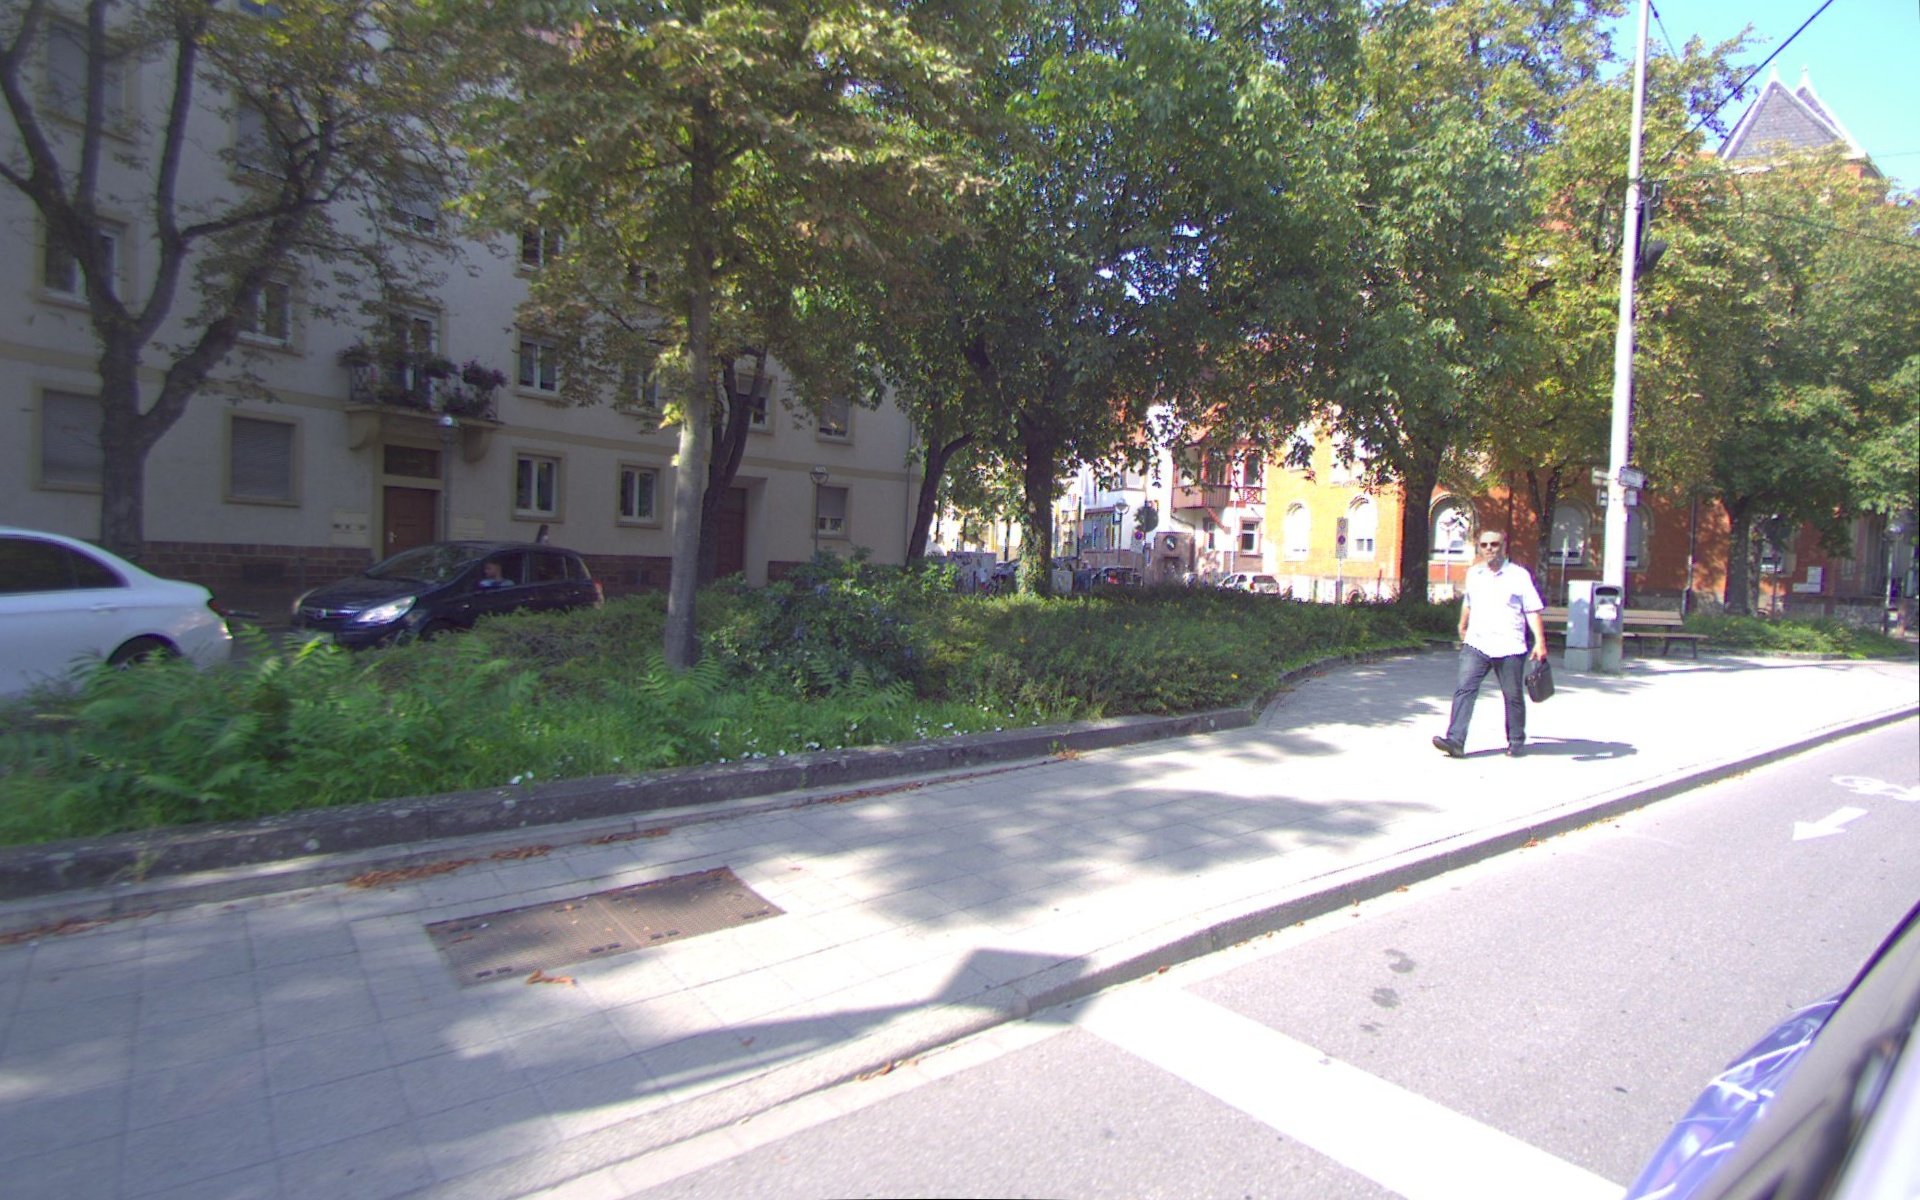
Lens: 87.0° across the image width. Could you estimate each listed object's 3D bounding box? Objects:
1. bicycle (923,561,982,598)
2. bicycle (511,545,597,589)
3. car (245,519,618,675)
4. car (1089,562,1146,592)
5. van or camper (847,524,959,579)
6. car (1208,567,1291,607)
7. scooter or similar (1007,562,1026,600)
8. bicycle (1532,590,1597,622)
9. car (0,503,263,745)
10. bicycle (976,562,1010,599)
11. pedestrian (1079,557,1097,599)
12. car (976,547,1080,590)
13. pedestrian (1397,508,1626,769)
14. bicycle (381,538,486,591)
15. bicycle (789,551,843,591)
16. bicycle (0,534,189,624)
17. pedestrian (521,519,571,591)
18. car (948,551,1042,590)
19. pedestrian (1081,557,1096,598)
[{"bbox_3d":[-0.244,-0.633,30.855,1.864,1.071,0.599,4,3,43],"label":"bicycle"},{"bbox_3d":[-9.749,-0.776,24.364,0.532,1.019,1.882,4,2,39],"label":"bicycle"},{"bbox_3d":[-6.081,-0.084,12.192,1.729,1.469,3.868,4,2,17],"label":"car"},{"bbox_3d":[8.931,-1.342,57.802,1.588,1.586,4.010,2,2,-16],"label":"car"},{"bbox_3d":[-3.668,-3.096,65.465,6.796,2.918,2.004,4,-1,-18],"label":"van or camper"},{"bbox_3d":[12.828,-0.625,45.115,1.588,1.586,4.010,2,2,-16],"label":"car"},{"bbox_3d":[1.779,-0.606,31.905,0.433,1.172,1.114,2,2,-3],"label":"scooter or similar"},{"bbox_3d":[20.598,0.204,34.519,1.806,1.072,0.608,1,-1,4],"label":"bicycle"},{"bbox_3d":[-7.015,0.118,6.223,1.842,1.486,4.953,5,3,2],"label":"car"},{"bbox_3d":[0.990,-0.607,31.143,0.596,1.071,1.844,2,2,-12],"label":"bicycle"},{"bbox_3d":[5.570,-0.955,44.163,0.645,1.785,0.604,3,2,14],"label":"pedestrian"},{"bbox_3d":[2.918,-1.354,43.707,4.106,1.658,1.667,2,2,-17],"label":"car"},{"bbox_3d":[4.123,0.235,7.608,0.952,1.744,1.080,1,5,-39],"label":"pedestrian"},{"bbox_3d":[-10.691,-0.707,20.605,0.530,1.019,1.888,3,2,31],"label":"bicycle"},{"bbox_3d":[-4.081,-0.820,28.694,1.459,1.073,0.417,0,3,-34],"label":"bicycle"},{"bbox_3d":[-11.193,-0.251,13.125,0.601,1.071,1.827,3,0,20],"label":"bicycle"},{"bbox_3d":[-10.001,-1.074,24.457,0.685,1.692,0.854,4,2,40],"label":"pedestrian"},{"bbox_3d":[1.690,-1.428,48.885,4.107,1.480,1.667,5,1,-23],"label":"car"},{"bbox_3d":[5.722,-0.998,45.060,0.582,1.785,0.605,3,2,12],"label":"pedestrian"}]
